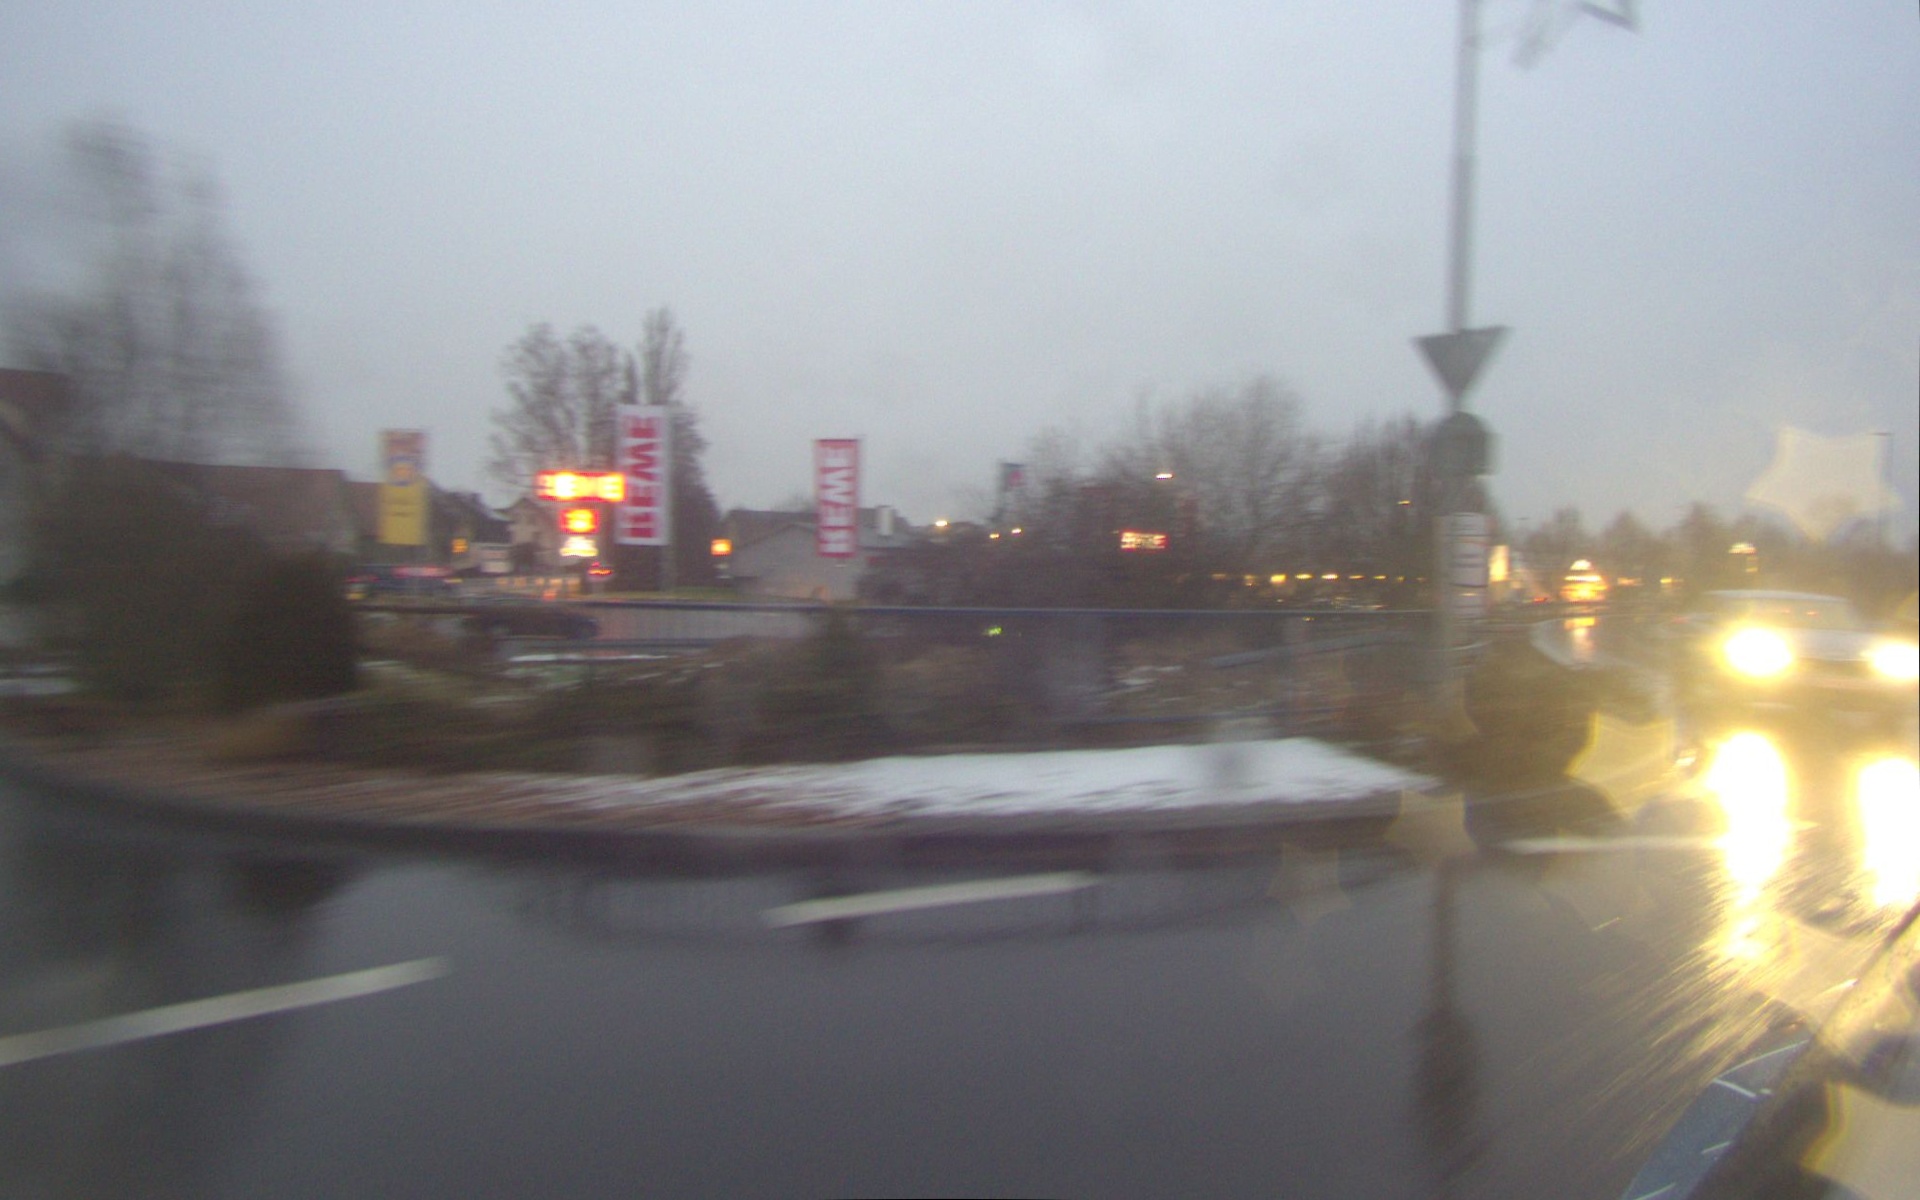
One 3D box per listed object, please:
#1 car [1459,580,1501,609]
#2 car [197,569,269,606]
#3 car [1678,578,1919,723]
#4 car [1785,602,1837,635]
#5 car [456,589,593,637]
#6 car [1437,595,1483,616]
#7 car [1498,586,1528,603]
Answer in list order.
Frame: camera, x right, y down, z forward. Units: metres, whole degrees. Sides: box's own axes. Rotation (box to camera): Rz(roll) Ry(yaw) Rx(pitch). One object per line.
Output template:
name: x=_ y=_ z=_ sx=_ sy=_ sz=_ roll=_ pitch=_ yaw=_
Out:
car: x=50.427 y=-0.563 z=98.284 sx=2.247 sy=2.469 sz=5.222 roll=3 pitch=3 yaw=12
car: x=-31.826 y=-0.569 z=44.395 sx=1.724 sy=1.510 sz=3.860 roll=-2 pitch=2 yaw=-23
car: x=11.058 y=0.517 z=13.526 sx=1.794 sy=1.478 sz=4.207 roll=1 pitch=3 yaw=27
car: x=42.477 y=0.890 z=50.575 sx=1.602 sy=1.487 sz=3.639 roll=3 pitch=3 yaw=35
car: x=-14.327 y=0.389 z=33.405 sx=3.881 sy=1.420 sz=1.610 roll=-2 pitch=2 yaw=-39
car: x=37.828 y=0.403 z=76.535 sx=3.744 sy=1.446 sz=1.772 roll=-1 pitch=4 yaw=-40
car: x=55.712 y=-0.553 z=102.003 sx=1.691 sy=1.429 sz=3.995 roll=3 pitch=3 yaw=16
